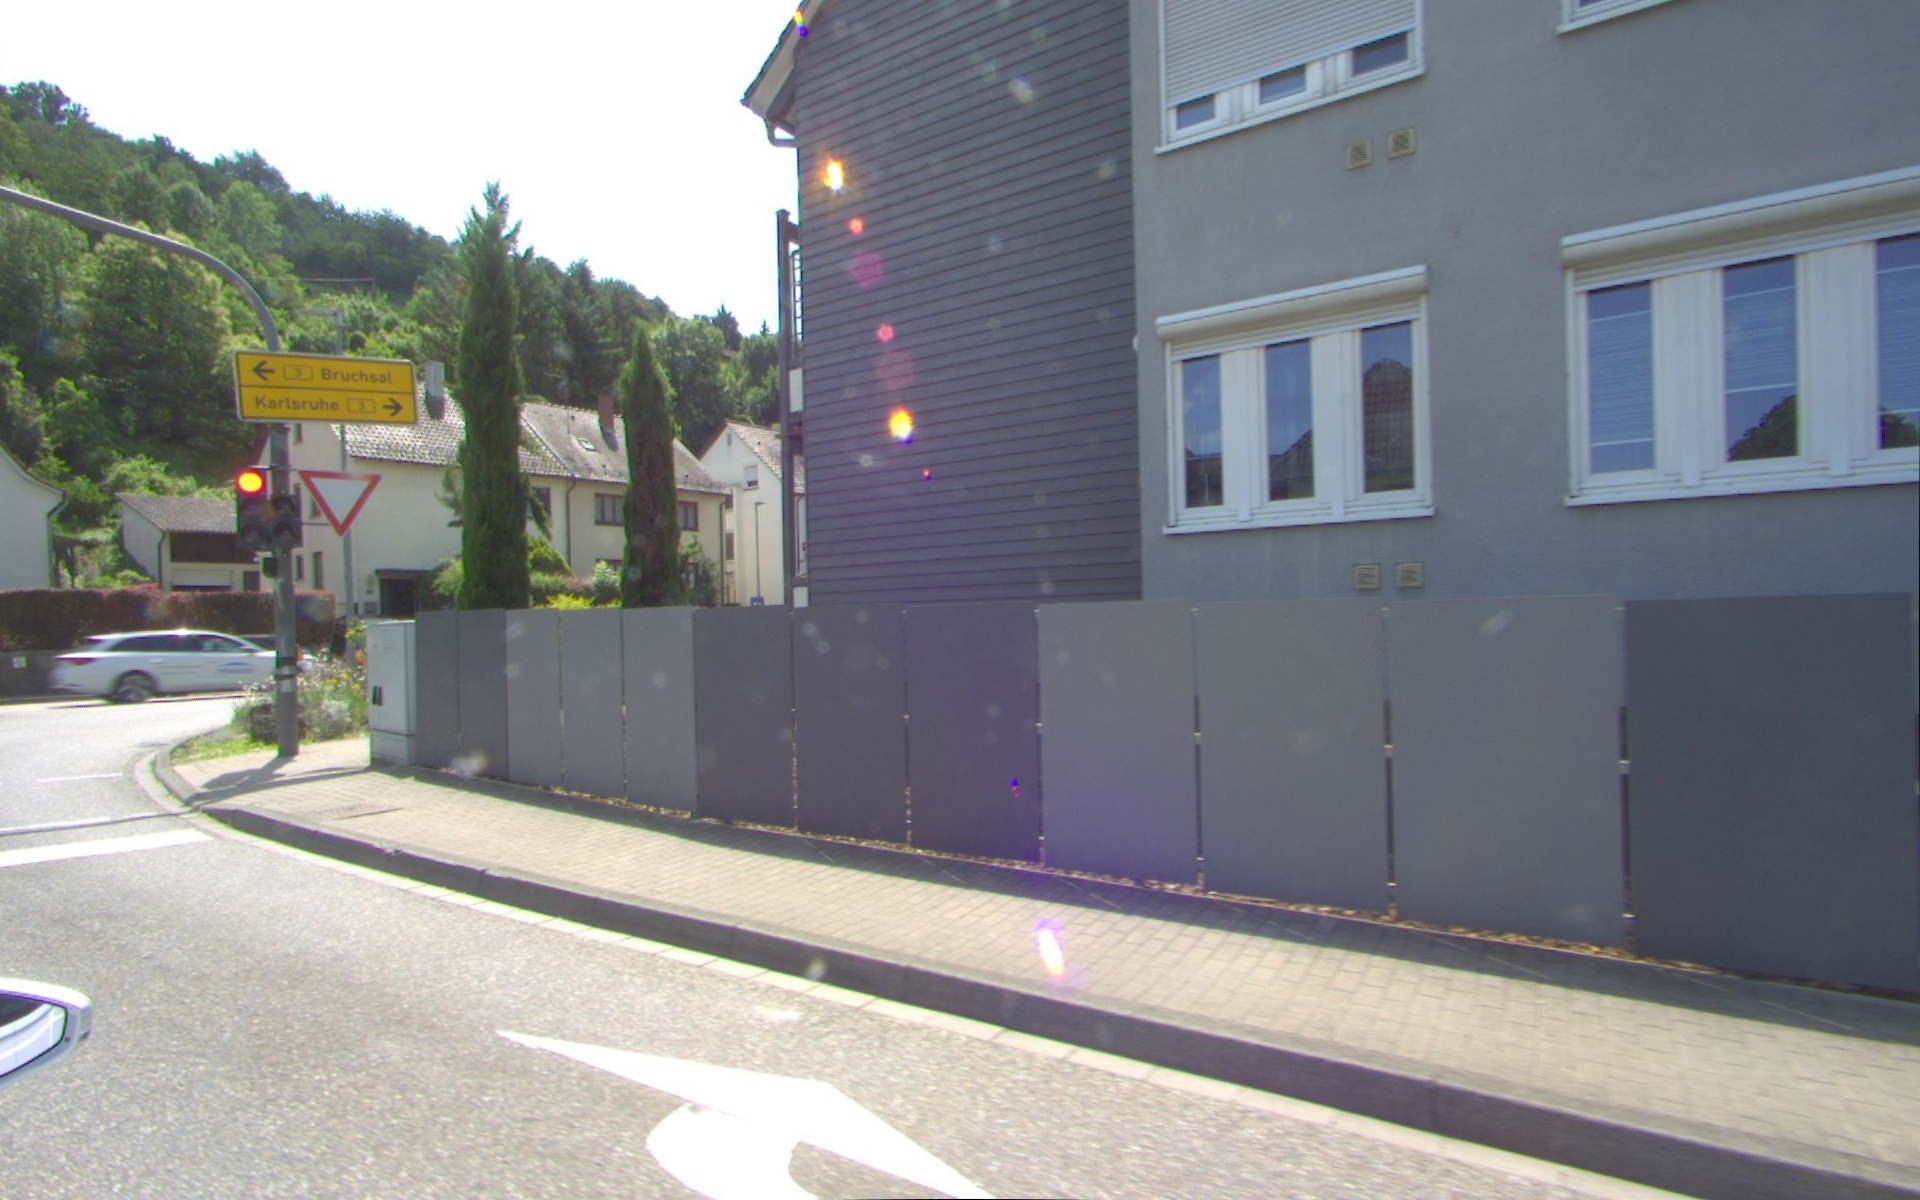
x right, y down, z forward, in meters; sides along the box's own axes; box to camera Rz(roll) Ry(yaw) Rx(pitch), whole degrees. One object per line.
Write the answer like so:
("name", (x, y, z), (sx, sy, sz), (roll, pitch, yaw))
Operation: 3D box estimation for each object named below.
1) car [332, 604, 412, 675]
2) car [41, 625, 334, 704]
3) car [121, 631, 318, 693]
("car", (-19.069, 1.217, 32.405), (1.780, 1.410, 3.650), (0, 13, -38))
("car", (-16.268, 1.315, 21.317), (1.905, 1.445, 4.645), (-4, -3, 38))
("car", (-18.188, 1.506, 24.717), (1.624, 1.379, 3.598), (-4, -4, 36))
